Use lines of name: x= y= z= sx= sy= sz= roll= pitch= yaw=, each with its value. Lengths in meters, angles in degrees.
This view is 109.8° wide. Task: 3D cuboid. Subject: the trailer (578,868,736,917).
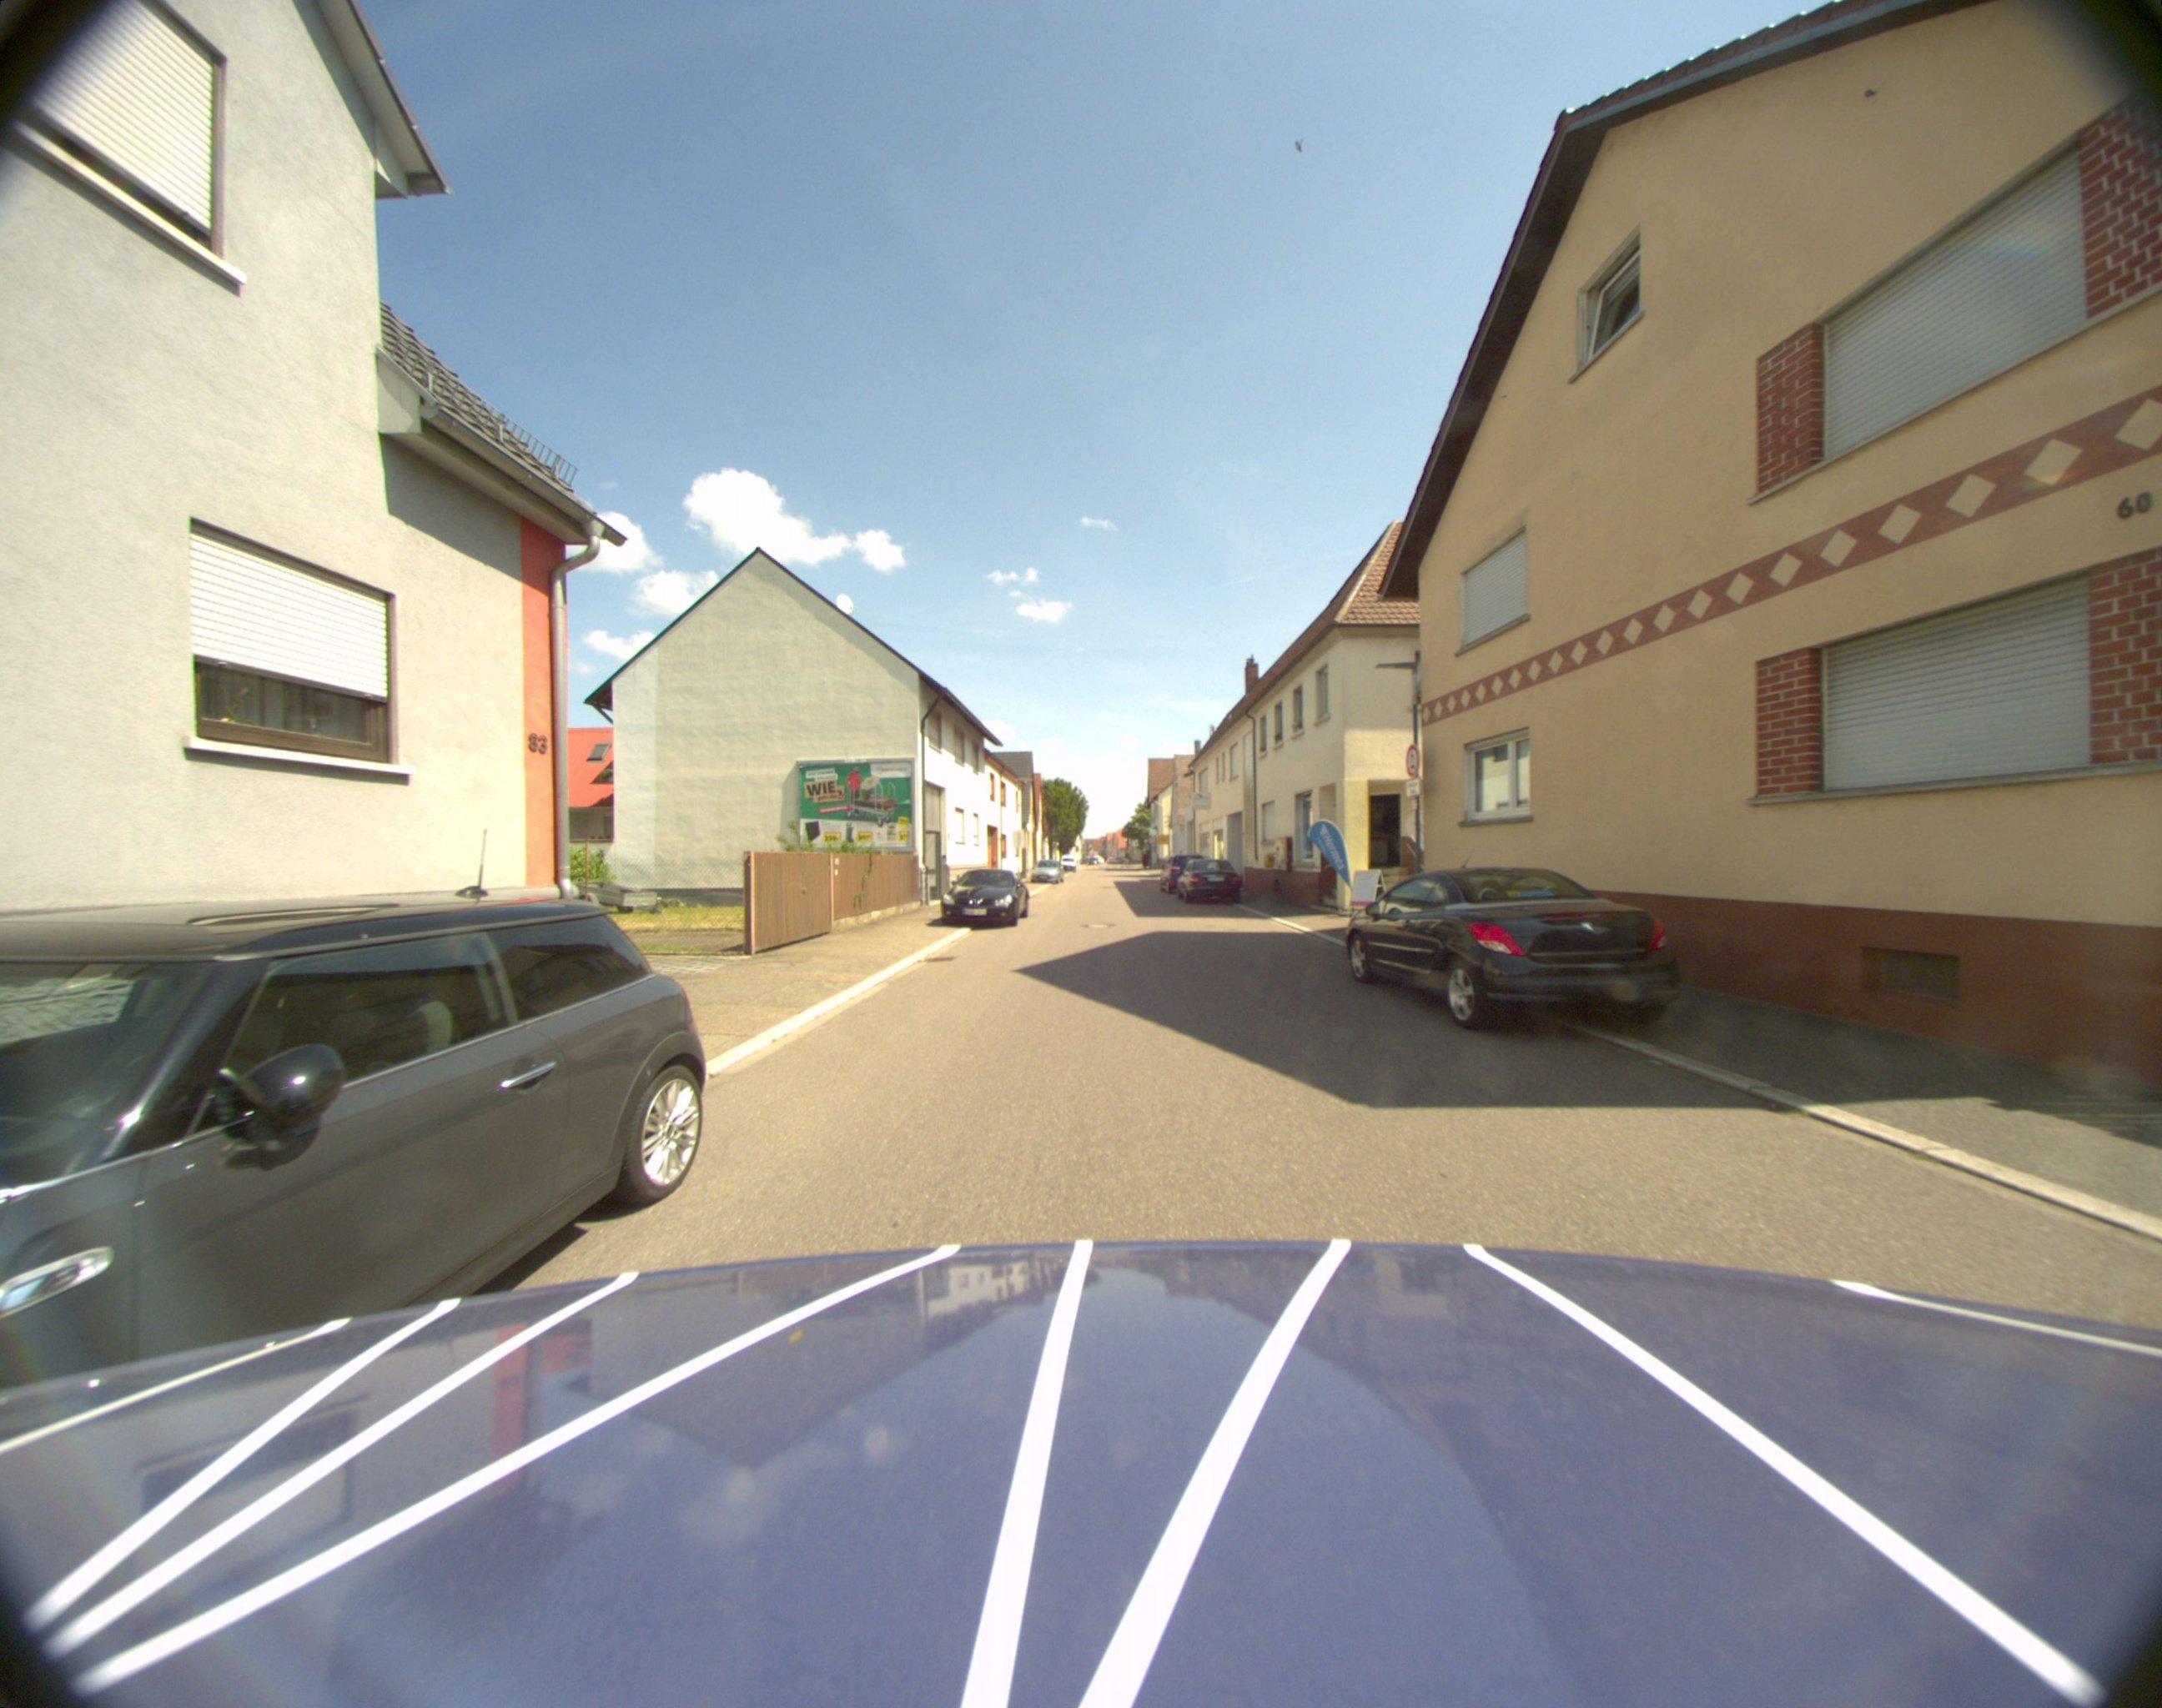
trailer: x=-12.023 y=1.079 z=21.663 sx=3.457 sy=1.251 sz=1.952 roll=-1 pitch=0 yaw=10

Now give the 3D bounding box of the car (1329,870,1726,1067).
car: x=4.118 y=0.935 z=7.913 sx=1.766 sy=1.366 sz=4.066 roll=-2 pitch=0 yaw=1

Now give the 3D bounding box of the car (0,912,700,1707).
car: x=-2.774 y=1.006 z=1.919 sx=1.692 sy=1.414 sz=3.657 roll=-1 pitch=0 yaw=1

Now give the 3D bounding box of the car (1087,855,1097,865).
car: x=1.959 y=1.089 z=135.114 sx=1.597 sy=1.533 sz=4.201 roll=-2 pitch=1 yaw=4

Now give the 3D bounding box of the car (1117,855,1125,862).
car: x=8.561 y=0.991 z=162.077 sx=1.726 sy=1.385 sz=4.171 roll=-1 pitch=-2 yaw=3

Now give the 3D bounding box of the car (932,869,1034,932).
car: x=-2.273 y=1.055 z=18.746 sx=1.820 sy=1.268 sz=4.147 roll=-1 pitch=0 yaw=2

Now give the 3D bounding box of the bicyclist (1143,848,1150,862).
bicyclist: x=7.783 y=0.171 z=90.110 sx=0.748 sy=1.627 sz=0.957 roll=-2 pitch=1 yaw=5

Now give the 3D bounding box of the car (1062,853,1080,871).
car: x=-1.055 y=0.822 z=83.296 sx=1.692 sy=1.831 sz=4.764 roll=2 pitch=0 yaw=2

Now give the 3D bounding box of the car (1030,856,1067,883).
car: x=-1.961 y=0.919 z=47.065 sx=1.725 sy=1.473 sz=3.751 roll=2 pitch=0 yaw=5

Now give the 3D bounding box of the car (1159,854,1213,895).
car: x=4.400 y=0.810 z=32.480 sx=1.721 sy=1.630 sz=4.148 roll=1 pitch=0 yaw=0

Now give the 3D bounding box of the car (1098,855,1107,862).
car: x=4.883 y=1.051 z=176.460 sx=1.848 sy=1.385 sz=4.169 roll=-1 pitch=-2 yaw=-1

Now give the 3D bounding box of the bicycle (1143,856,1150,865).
bicycle: x=7.794 y=0.769 z=90.054 sx=0.744 sy=1.041 sz=1.940 roll=-2 pitch=0 yaw=5

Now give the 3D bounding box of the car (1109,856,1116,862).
car: x=7.328 y=1.110 z=175.626 sx=1.598 sy=1.385 sz=4.168 roll=-2 pitch=0 yaw=1

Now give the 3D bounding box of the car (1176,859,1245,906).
car: x=4.301 y=0.916 z=25.916 sx=1.702 sy=1.403 sz=4.390 roll=-1 pitch=0 yaw=2
